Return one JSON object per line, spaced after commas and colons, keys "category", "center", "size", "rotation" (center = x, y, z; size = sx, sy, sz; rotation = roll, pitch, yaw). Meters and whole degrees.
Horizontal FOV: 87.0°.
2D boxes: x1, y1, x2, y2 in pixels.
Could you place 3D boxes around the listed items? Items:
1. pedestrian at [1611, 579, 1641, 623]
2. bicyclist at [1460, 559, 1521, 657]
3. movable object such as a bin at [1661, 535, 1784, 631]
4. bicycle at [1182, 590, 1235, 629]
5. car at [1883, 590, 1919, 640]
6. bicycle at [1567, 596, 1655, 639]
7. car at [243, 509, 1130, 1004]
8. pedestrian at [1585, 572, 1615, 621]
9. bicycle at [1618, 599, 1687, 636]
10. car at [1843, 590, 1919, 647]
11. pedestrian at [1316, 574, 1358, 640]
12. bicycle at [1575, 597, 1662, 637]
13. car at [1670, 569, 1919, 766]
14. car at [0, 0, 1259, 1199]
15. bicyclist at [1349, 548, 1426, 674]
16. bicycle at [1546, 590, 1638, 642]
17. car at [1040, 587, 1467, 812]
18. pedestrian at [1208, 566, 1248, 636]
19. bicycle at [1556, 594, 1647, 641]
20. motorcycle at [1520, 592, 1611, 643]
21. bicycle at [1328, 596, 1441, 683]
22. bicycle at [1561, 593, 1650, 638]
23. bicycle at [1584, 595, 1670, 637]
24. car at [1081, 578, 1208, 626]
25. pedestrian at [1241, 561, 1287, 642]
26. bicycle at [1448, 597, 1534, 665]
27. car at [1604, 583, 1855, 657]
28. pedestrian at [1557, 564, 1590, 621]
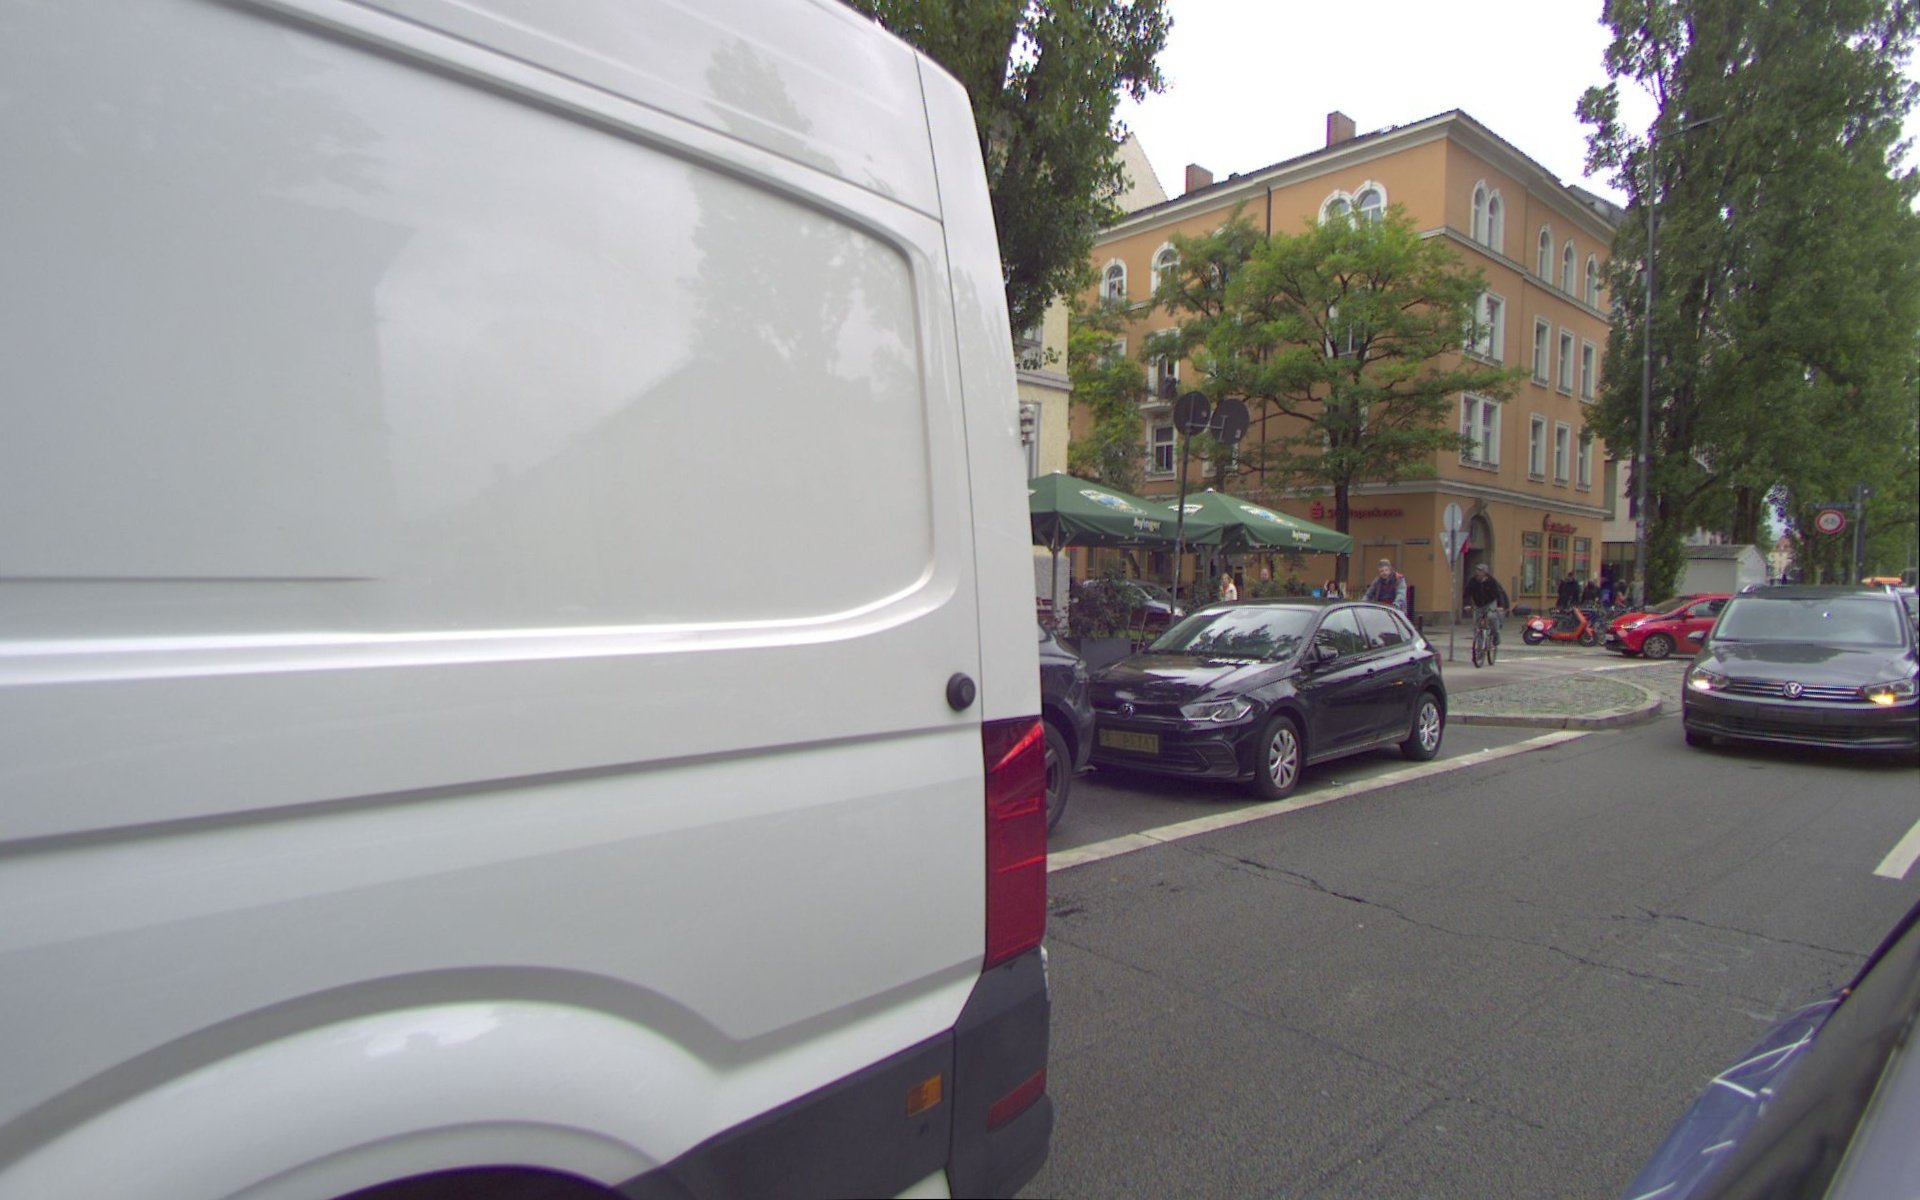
{"category": "pedestrian", "center": [24.079, 0.038, 36.613], "size": [0.603, 1.590, 0.746], "rotation": [0, 0, -38]}
{"category": "bicyclist", "center": [9.540, 0.129, 18.203], "size": [0.736, 1.708, 0.740], "rotation": [0, 1, -43]}
{"category": "movable object such as a bin", "center": [27.123, -0.614, 35.950], "size": [4.463, 3.175, 2.445], "rotation": [0, 3, -41]}
{"category": "bicycle", "center": [9.118, 0.323, 37.164], "size": [0.551, 1.389, 1.945], "rotation": [0, 0, -39]}
{"category": "car", "center": [33.199, 0.505, 34.752], "size": [4.421, 1.634, 1.787], "rotation": [0, 1, -42]}
{"category": "bicycle", "center": [17.942, 0.456, 27.914], "size": [0.551, 1.089, 1.945], "rotation": [0, 2, -39]}
{"category": "car", "center": [-1.145, 0.502, 5.541], "size": [4.371, 1.658, 1.805], "rotation": [0, 1, -42]}
{"category": "pedestrian", "center": [22.288, -0.124, 35.228], "size": [0.744, 1.682, 0.759], "rotation": [0, 0, 44]}
{"category": "bicycle", "center": [20.201, 0.503, 29.539], "size": [1.597, 1.022, 0.337], "rotation": [2, 1, 43]}
{"category": "car", "center": [27.744, 0.506, 30.041], "size": [4.421, 1.572, 1.787], "rotation": [0, 1, -42]}
{"category": "pedestrian", "center": [9.379, 0.162, 25.173], "size": [0.651, 1.590, 0.746], "rotation": [0, 0, -38]}
{"category": "bicycle", "center": [18.393, 0.469, 28.300], "size": [0.551, 1.022, 1.945], "rotation": [0, 2, -39]}
{"category": "car", "center": [8.894, 0.538, 10.256], "size": [4.120, 1.611, 1.881], "rotation": [0, 1, -42]}
{"category": "car", "center": [-2.650, 0.154, 0.446], "size": [6.611, 2.524, 2.067], "rotation": [0, 1, -41]}
{"category": "bicyclist", "center": [6.247, 0.141, 14.787], "size": [0.828, 1.779, 0.657], "rotation": [2, 1, 42]}
{"category": "bicycle", "center": [16.525, 0.401, 26.492], "size": [0.551, 1.255, 1.945], "rotation": [0, 1, -39]}
{"category": "car", "center": [2.621, 0.636, 8.540], "size": [3.884, 1.434, 1.696], "rotation": [0, 1, -43]}
{"category": "pedestrian", "center": [6.288, 0.019, 23.732], "size": [0.564, 1.590, 0.699], "rotation": [0, 0, -38]}
{"category": "bicycle", "center": [17.021, 0.431, 26.884], "size": [0.551, 1.151, 1.945], "rotation": [0, 2, -39]}
{"category": "motorcycle", "center": [15.594, 0.428, 26.126], "size": [1.939, 1.236, 0.510], "rotation": [2, 1, 25]}
{"category": "bicycle", "center": [6.242, 0.538, 14.810], "size": [0.884, 1.134, 2.070], "rotation": [2, 2, 42]}
{"category": "bicycle", "center": [17.437, 0.398, 27.381], "size": [0.551, 1.102, 1.945], "rotation": [0, 2, -39]}
{"category": "bicycle", "center": [18.948, 0.436, 28.783], "size": [0.551, 1.098, 1.945], "rotation": [0, 2, -39]}
{"category": "car", "center": [6.250, 0.044, 34.590], "size": [1.873, 1.539, 3.993], "rotation": [-1, 1, -41]}
{"category": "pedestrian", "center": [6.806, 0.026, 22.668], "size": [0.718, 1.788, 0.699], "rotation": [0, 0, -38]}
{"category": "bicycle", "center": [9.620, 0.525, 18.298], "size": [2.067, 1.134, 0.736], "rotation": [0, 2, -43]}
{"category": "car", "center": [16.406, 0.388, 21.796], "size": [3.947, 1.451, 1.609], "rotation": [1, 0, 16]}
{"category": "pedestrian", "center": [21.571, -0.262, 35.586], "size": [0.788, 1.973, 0.838], "rotation": [0, 0, -43]}
